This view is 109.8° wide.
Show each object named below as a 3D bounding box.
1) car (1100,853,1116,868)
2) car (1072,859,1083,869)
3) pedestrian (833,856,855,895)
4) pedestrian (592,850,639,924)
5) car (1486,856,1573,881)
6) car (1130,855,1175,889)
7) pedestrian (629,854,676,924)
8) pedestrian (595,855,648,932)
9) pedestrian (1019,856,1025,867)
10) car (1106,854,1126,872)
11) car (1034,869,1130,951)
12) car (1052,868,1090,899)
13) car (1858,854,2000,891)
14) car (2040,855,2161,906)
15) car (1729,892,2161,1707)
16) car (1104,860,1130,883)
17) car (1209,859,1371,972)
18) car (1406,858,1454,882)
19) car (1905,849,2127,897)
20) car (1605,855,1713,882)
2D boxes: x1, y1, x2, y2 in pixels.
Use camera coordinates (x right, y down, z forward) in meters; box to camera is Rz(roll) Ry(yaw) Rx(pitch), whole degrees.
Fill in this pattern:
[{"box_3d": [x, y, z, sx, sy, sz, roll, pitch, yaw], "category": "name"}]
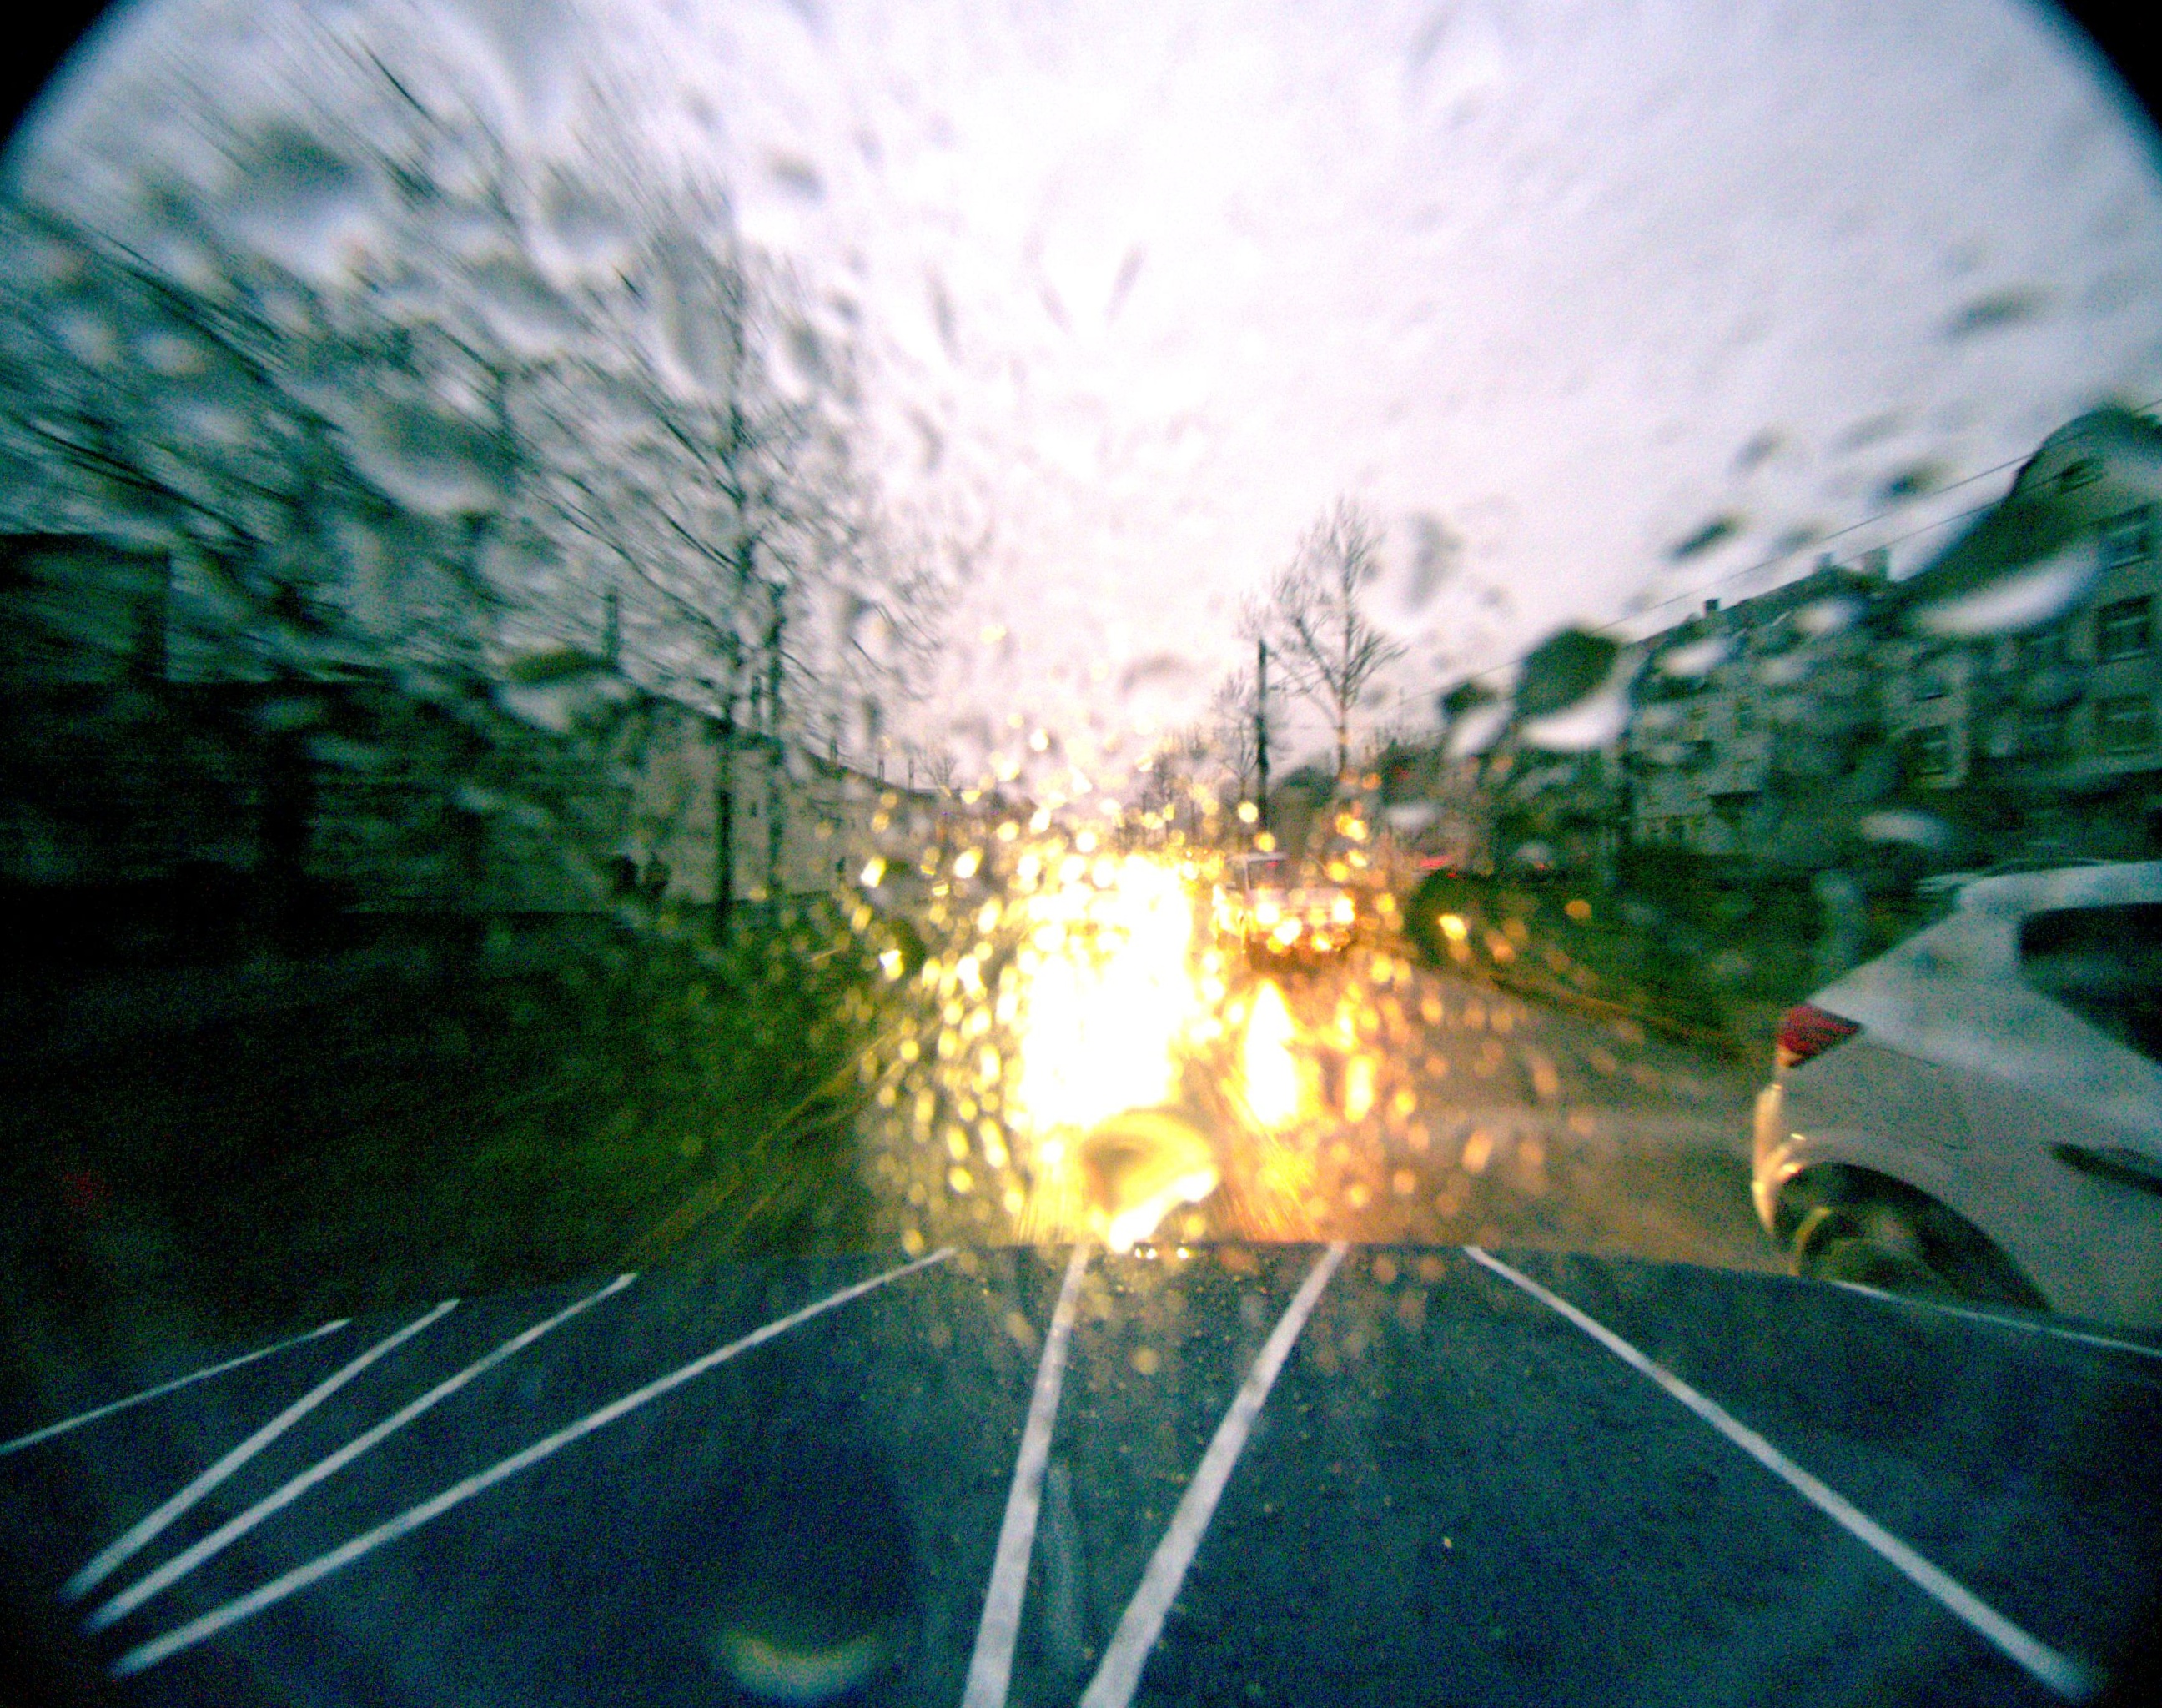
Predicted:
[{"box_3d": [3.143, 0.724, 89.316, 1.686, 1.669, 3.468, -2, 0, 1], "category": "car"}, {"box_3d": [-0.581, 1.695, 130.098, 1.865, 1.732, 3.365, -2, 0, 1], "category": "car"}, {"box_3d": [-10.242, 0.905, 32.841, 0.669, 1.646, 0.994, 0, 1, -4], "category": "pedestrian"}, {"box_3d": [-11.356, 0.799, 18.546, 0.673, 1.767, 0.615, -2, 1, 14], "category": "pedestrian"}, {"box_3d": [28.892, 0.939, 49.028, 4.651, 1.423, 1.697, -2, 0, 37], "category": "car"}, {"box_3d": [3.414, 0.848, 36.731, 1.905, 1.475, 3.656, -2, 0, 2], "category": "car"}, {"box_3d": [-10.205, 0.826, 18.105, 0.673, 1.603, 0.615, -2, 1, 15], "category": "pedestrian"}, {"box_3d": [-9.914, 0.837, 16.392, 0.673, 1.616, 0.615, -2, 1, 16], "category": "pedestrian"}, {"box_3d": [-9.023, 1.127, 115.610, 0.814, 1.621, 0.883, 1, 1, 0], "category": "pedestrian"}, {"box_3d": [3.381, 0.853, 73.834, 1.802, 1.674, 3.805, -2, 0, 1], "category": "car"}, {"box_3d": [0.037, 1.050, 15.626, 1.669, 1.325, 3.787, -2, 0, 1], "category": "car"}, {"box_3d": [-0.440, 1.404, 37.282, 1.736, 1.311, 3.803, -2, 0, 1], "category": "car"}, {"box_3d": [28.935, 0.641, 26.064, 2.912, 0.984, 1.798, -4, 1, 36], "category": "car"}, {"box_3d": [28.663, 0.664, 19.917, 4.095, 1.154, 1.715, -4, 1, 40], "category": "car"}, {"box_3d": [2.741, 0.867, 0.217, 1.692, 1.465, 4.001, -2, 0, 1], "category": "car"}, {"box_3d": [2.399, 1.134, 50.764, 1.538, 1.347, 3.546, -2, 0, 1], "category": "car"}, {"box_3d": [3.305, 0.886, 12.791, 1.638, 1.510, 3.907, -2, 0, 1], "category": "car"}, {"box_3d": [23.542, 1.048, 51.360, 1.549, 1.495, 3.783, -2, 0, 2], "category": "car"}, {"box_3d": [28.312, 0.602, 23.213, 4.034, 1.223, 1.351, -4, 1, 37], "category": "car"}, {"box_3d": [29.448, 0.748, 38.791, 4.254, 1.250, 1.837, -2, 0, 41], "category": "car"}]
